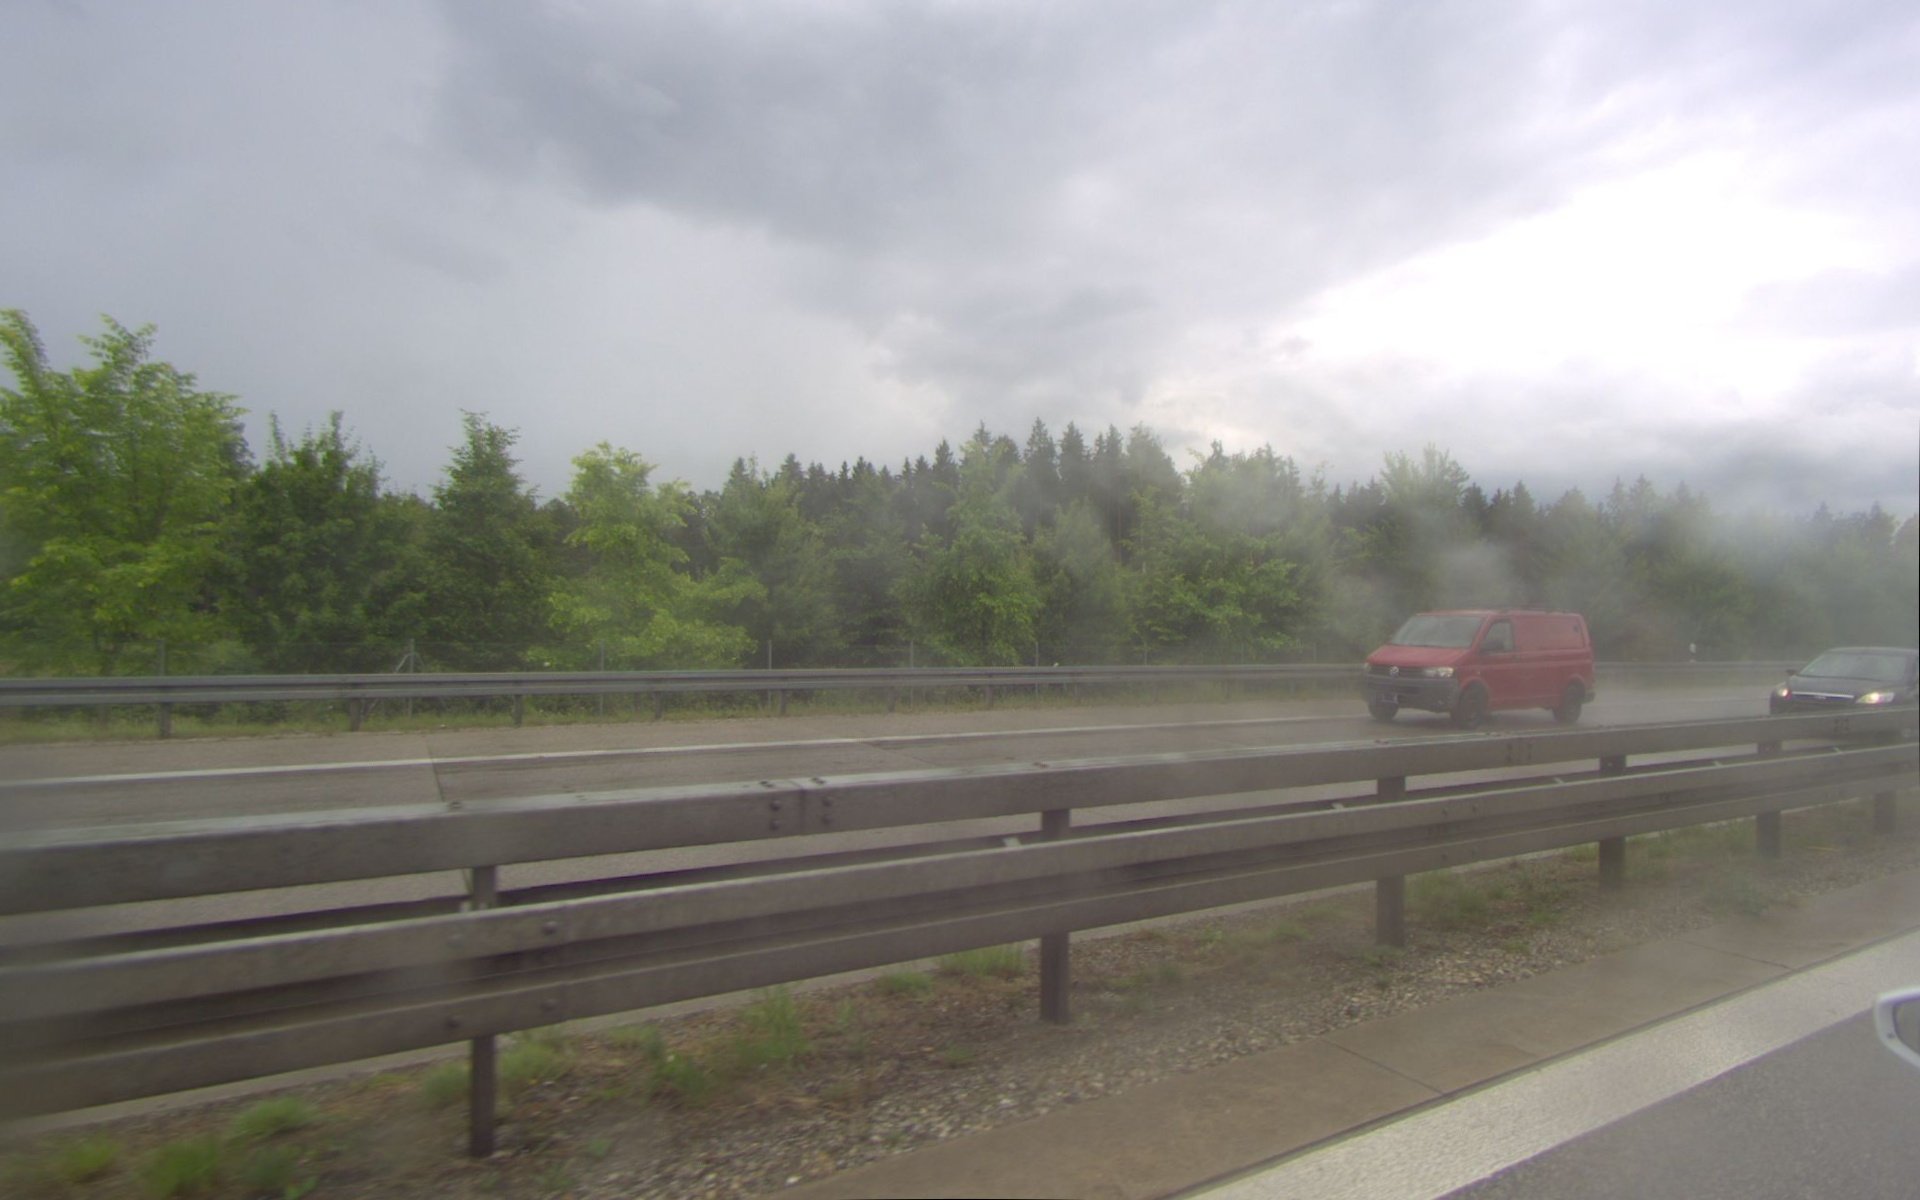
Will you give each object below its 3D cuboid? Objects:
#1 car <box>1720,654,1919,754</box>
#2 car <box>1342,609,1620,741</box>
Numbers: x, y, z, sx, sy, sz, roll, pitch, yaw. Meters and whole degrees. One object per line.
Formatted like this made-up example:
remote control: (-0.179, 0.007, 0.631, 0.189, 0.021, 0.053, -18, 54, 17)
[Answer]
car: (15.577, 1.725, 17.650, 4.504, 1.502, 1.984, 1, -3, -31)
car: (9.475, 1.269, 18.152, 5.251, 2.091, 1.984, 1, -3, -31)
